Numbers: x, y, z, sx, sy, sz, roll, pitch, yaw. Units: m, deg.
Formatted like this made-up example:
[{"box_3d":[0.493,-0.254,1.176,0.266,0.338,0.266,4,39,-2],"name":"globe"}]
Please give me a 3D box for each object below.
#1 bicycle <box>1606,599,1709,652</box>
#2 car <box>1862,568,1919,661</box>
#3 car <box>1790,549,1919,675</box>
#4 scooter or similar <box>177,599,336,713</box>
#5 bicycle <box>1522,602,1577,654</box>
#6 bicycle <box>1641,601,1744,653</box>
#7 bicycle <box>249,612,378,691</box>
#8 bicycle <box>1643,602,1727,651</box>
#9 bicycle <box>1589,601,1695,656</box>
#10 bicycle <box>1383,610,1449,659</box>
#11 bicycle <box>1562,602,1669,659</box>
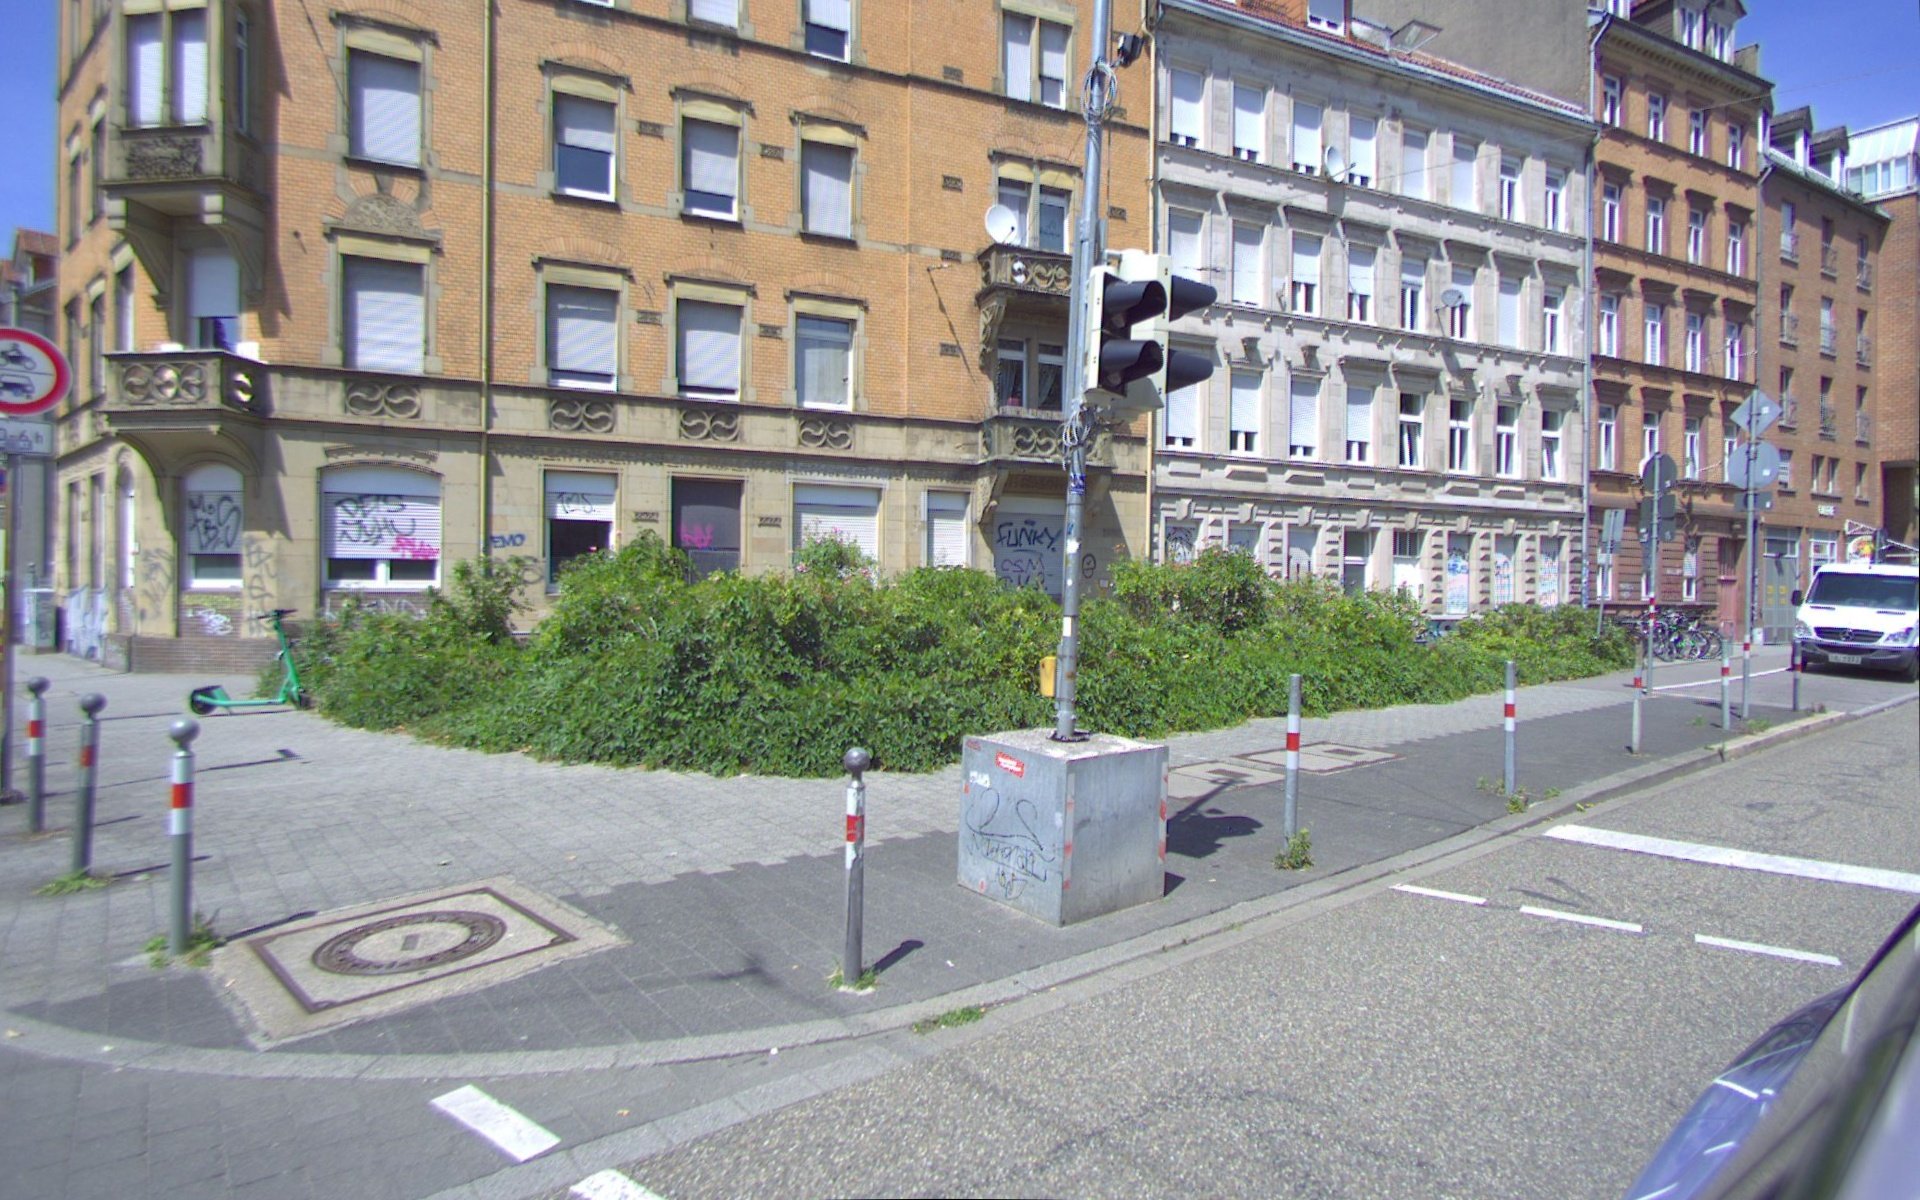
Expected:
[{"box_3d":[16.346,0.582,23.771,0.484,1.195,1.919,0,-1,-38],"name":"bicycle"},{"box_3d":[24.601,0.323,25.426,5.177,2.162,1.999,-1,3,-39],"name":"car"},{"box_3d":[19.669,0.168,21.505,5.310,2.358,1.999,-1,3,-39],"name":"car"},{"box_3d":[-8.008,0.605,11.565,1.460,1.220,0.491,-1,-1,-35],"name":"scooter or similar"},{"box_3d":[14.131,0.655,24.249,1.886,1.195,0.492,-1,-1,-39],"name":"bicycle"},{"box_3d":[17.534,0.645,24.267,0.484,1.195,1.919,0,-1,-38],"name":"bicycle"},{"box_3d":[-8.838,0.687,13.869,1.460,1.005,0.491,-1,-1,-35],"name":"bicycle"},{"box_3d":[18.377,0.658,25.654,1.881,1.195,0.493,-1,-1,-9],"name":"bicycle"},{"box_3d":[15.390,0.630,22.878,0.484,1.195,1.919,0,-1,-38],"name":"bicycle"},{"box_3d":[10.154,0.749,22.521,1.735,1.035,0.457,-1,-1,-33],"name":"bicycle"},{"box_3d":[14.480,0.656,22.416,0.484,1.195,1.919,0,-1,-38],"name":"bicycle"}]
